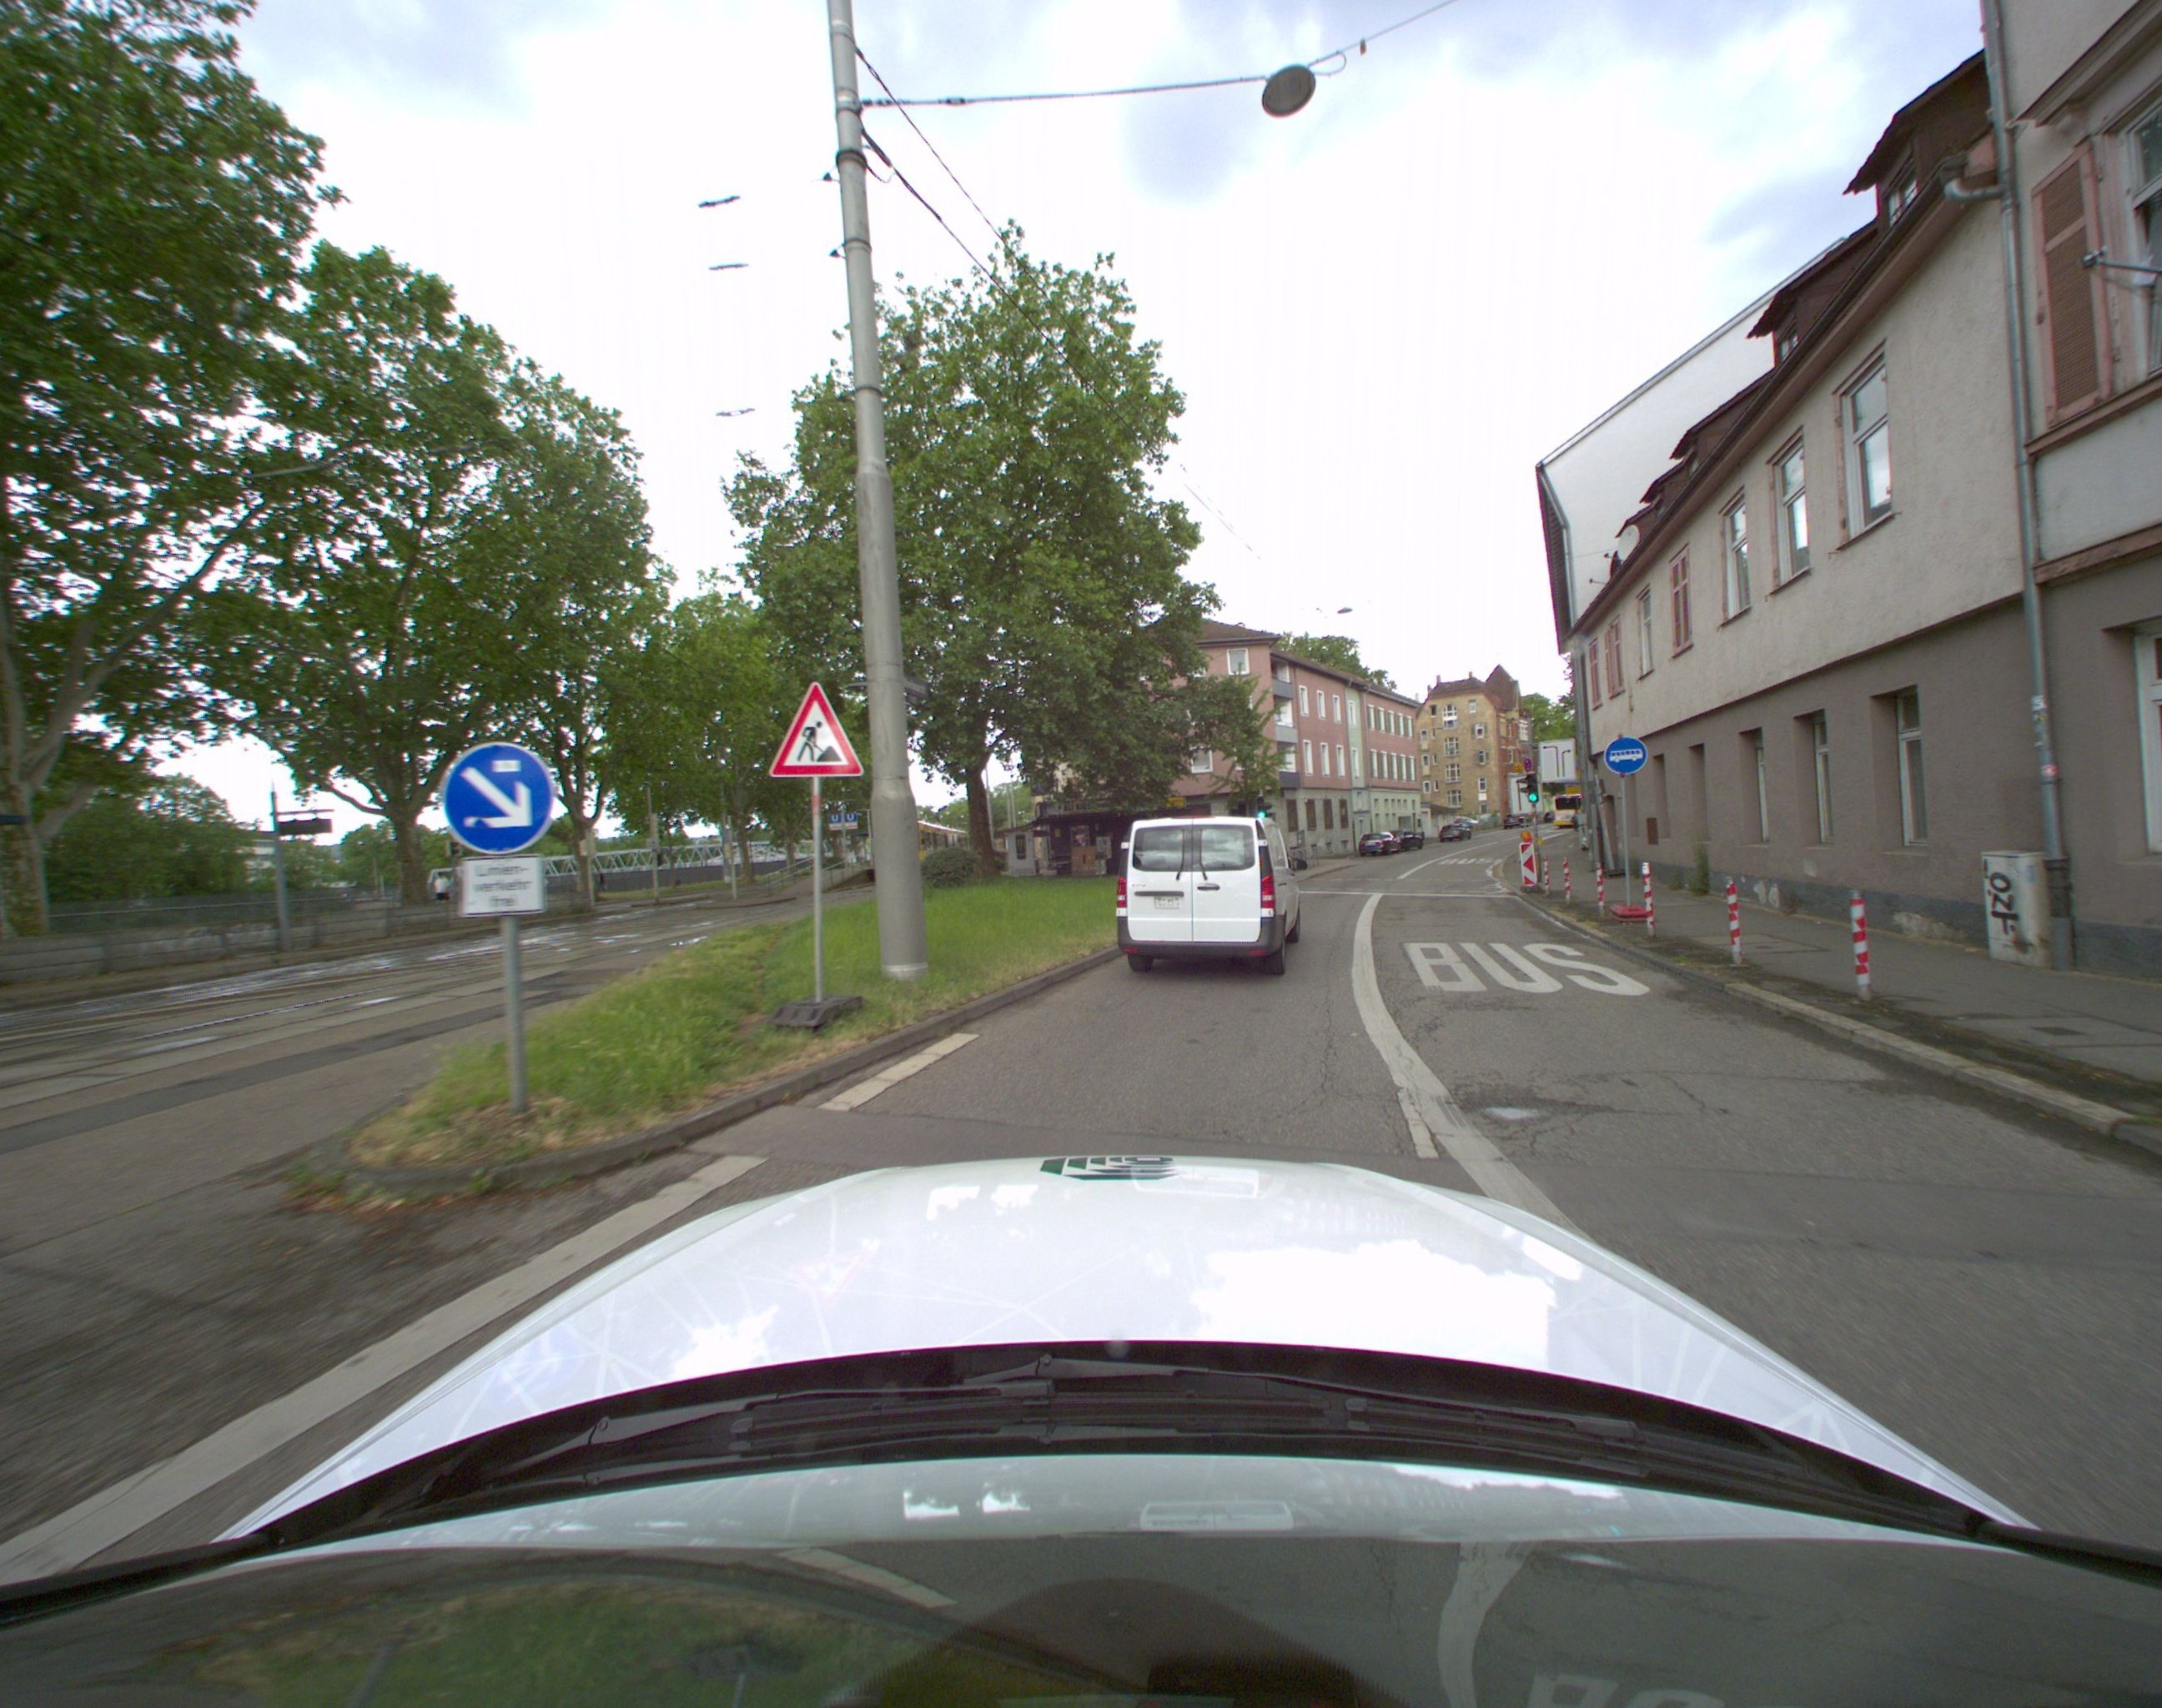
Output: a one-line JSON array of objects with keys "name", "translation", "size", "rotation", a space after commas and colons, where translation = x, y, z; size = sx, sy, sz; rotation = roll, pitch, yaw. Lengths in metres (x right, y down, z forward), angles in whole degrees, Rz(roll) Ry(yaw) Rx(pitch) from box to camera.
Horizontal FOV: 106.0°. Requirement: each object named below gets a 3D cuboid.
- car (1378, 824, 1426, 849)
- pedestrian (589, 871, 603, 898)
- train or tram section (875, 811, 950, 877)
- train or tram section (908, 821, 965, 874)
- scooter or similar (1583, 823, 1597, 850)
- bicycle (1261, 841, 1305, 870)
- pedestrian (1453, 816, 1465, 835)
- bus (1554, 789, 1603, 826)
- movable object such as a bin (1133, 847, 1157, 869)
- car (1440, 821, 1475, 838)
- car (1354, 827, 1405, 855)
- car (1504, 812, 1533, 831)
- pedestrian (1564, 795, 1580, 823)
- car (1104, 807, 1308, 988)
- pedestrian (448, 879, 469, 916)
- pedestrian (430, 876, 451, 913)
[{"name": "car", "translation": [21.903, -1.187, 55.465], "size": [1.811, 1.454, 4.954], "rotation": [-3, 1, 36]}, {"name": "pedestrian", "translation": [-29.269, 1.818, 49.118], "size": [0.668, 1.623, 0.530], "rotation": [0, -1, -26]}, {"name": "train or tram section", "translation": [-10.312, -0.515, 51.156], "size": [2.908, 3.672, 10.994], "rotation": [0, 0, -3]}, {"name": "train or tram section", "translation": [-10.825, -0.420, 62.136], "size": [2.908, 3.672, 10.994], "rotation": [0, 0, -3]}, {"name": "scooter or similar", "translation": [22.334, -0.762, 35.738], "size": [0.424, 1.097, 1.448], "rotation": [-6, 0, 32]}, {"name": "bicycle", "translation": [8.642, 0.054, 34.847], "size": [1.789, 1.176, 0.727], "rotation": [-2, 1, 13]}, {"name": "pedestrian", "translation": [35.257, -2.634, 75.937], "size": [0.754, 1.743, 0.991], "rotation": [-1, 2, 36]}, {"name": "bus", "translation": [47.179, -4.462, 77.101], "size": [2.637, 3.135, 10.106], "rotation": [-1, 3, 39]}, {"name": "movable object such as a bin", "translation": [2.946, 0.191, 37.664], "size": [0.963, 0.964, 1.111], "rotation": [-1, 2, -5]}, {"name": "car", "translation": [31.651, -2.076, 68.366], "size": [1.974, 1.289, 4.026], "rotation": [-1, 1, 35]}, {"name": "car", "translation": [18.577, -0.836, 50.592], "size": [1.811, 1.454, 4.614], "rotation": [-3, 1, 34]}, {"name": "car", "translation": [48.179, -3.600, 89.697], "size": [1.935, 1.733, 4.805], "rotation": [-3, 2, 38]}, {"name": "pedestrian", "translation": [34.195, -3.138, 56.702], "size": [0.795, 1.793, 0.949], "rotation": [-6, 1, 32]}, {"name": "car", "translation": [1.946, 0.411, 11.085], "size": [1.901, 1.901, 4.725], "rotation": [-1, 1, 19]}, {"name": "pedestrian", "translation": [-27.208, 1.895, 35.614], "size": [0.499, 1.623, 0.533], "rotation": [0, -1, -5]}, {"name": "pedestrian", "translation": [-28.090, 1.768, 35.697], "size": [0.499, 1.623, 0.533], "rotation": [0, -1, -5]}]
